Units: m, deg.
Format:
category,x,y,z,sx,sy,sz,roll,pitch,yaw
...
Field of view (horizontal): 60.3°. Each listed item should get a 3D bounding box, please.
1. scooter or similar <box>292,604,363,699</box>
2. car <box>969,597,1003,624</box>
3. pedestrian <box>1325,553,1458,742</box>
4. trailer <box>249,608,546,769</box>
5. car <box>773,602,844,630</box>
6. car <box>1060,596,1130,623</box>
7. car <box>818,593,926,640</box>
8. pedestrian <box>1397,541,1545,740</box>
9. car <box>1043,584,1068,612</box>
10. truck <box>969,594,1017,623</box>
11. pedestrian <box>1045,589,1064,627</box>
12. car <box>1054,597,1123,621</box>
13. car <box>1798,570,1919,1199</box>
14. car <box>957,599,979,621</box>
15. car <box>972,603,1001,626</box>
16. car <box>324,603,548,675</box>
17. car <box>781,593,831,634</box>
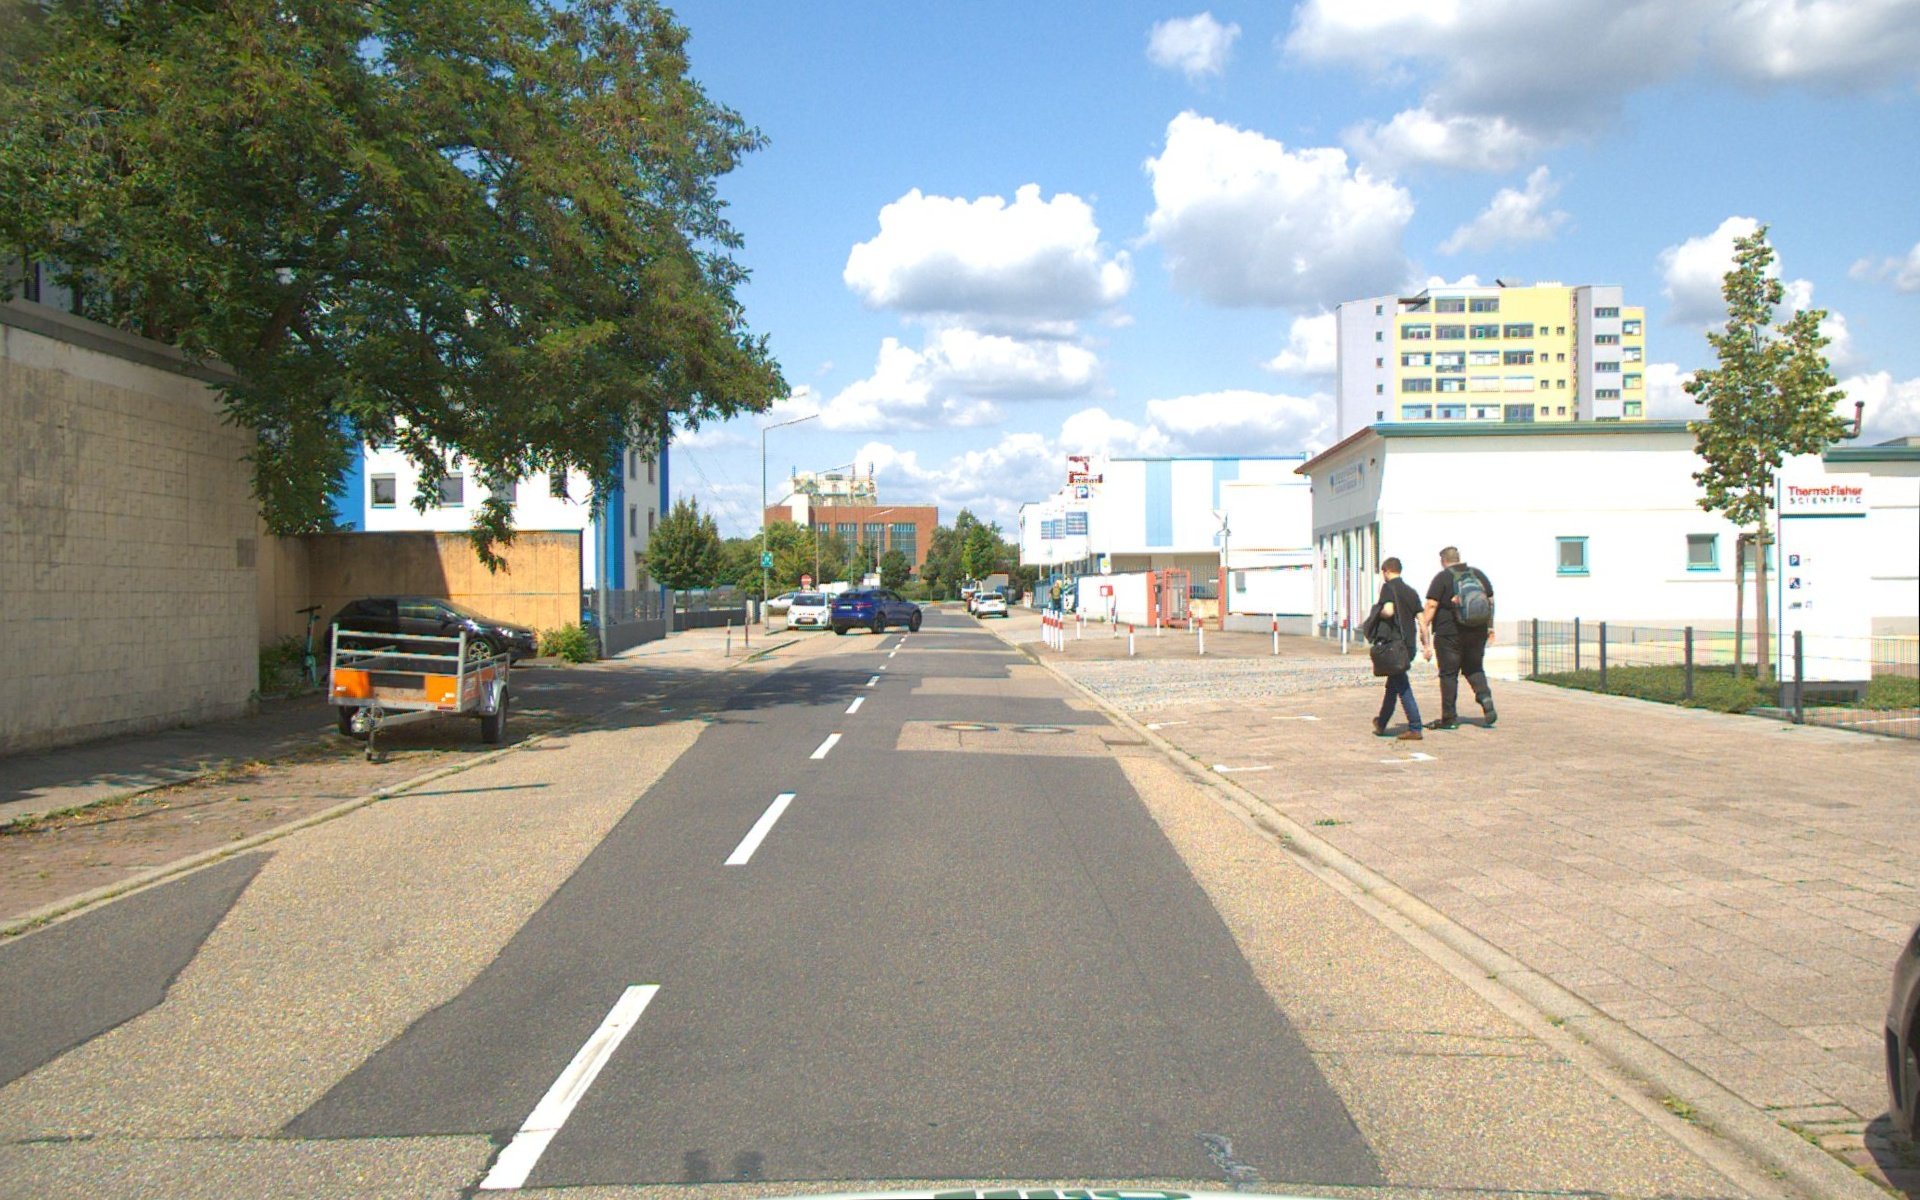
category,x,y,z,sx,sy,sz,roll,pitch,yaw
scooter or similar,-8.999,0.713,23.568,0.472,1.301,1.360,2,0,-1
car,1.548,0.618,99.603,1.830,1.547,4.596,0,0,-1
pedestrian,4.381,0.466,16.826,0.845,1.839,0.998,-1,0,-24
trailer,-5.876,0.851,17.860,1.731,1.464,4.335,2,0,-1
car,-10.197,1.080,111.640,4.662,1.630,1.998,-2,0,-5
car,7.826,0.553,96.202,3.905,1.445,2.000,-2,0,-1
car,-3.326,0.599,63.255,1.874,1.621,4.693,-2,0,30
pedestrian,5.316,0.401,17.248,0.976,1.986,1.083,-1,0,-24
car,8.637,-0.173,149.322,1.884,2.507,5.258,0,0,-1
truck,4.497,1.085,220.115,2.277,3.629,9.351,1,2,29
pedestrian,4.536,0.385,79.392,0.754,1.787,0.787,-3,0,-2
car,8.211,0.564,106.069,4.192,1.445,2.000,-2,0,-1
car,3.174,0.741,2.533,1.625,1.585,4.177,2,0,0
car,0.652,0.774,131.407,1.719,1.679,4.678,0,0,1
car,1.756,0.954,112.658,1.798,1.547,4.460,0,0,-1
car,-10.522,0.771,33.402,3.910,1.386,1.795,0,0,2
car,-6.757,0.588,72.908,1.830,1.738,4.751,0,0,-1
